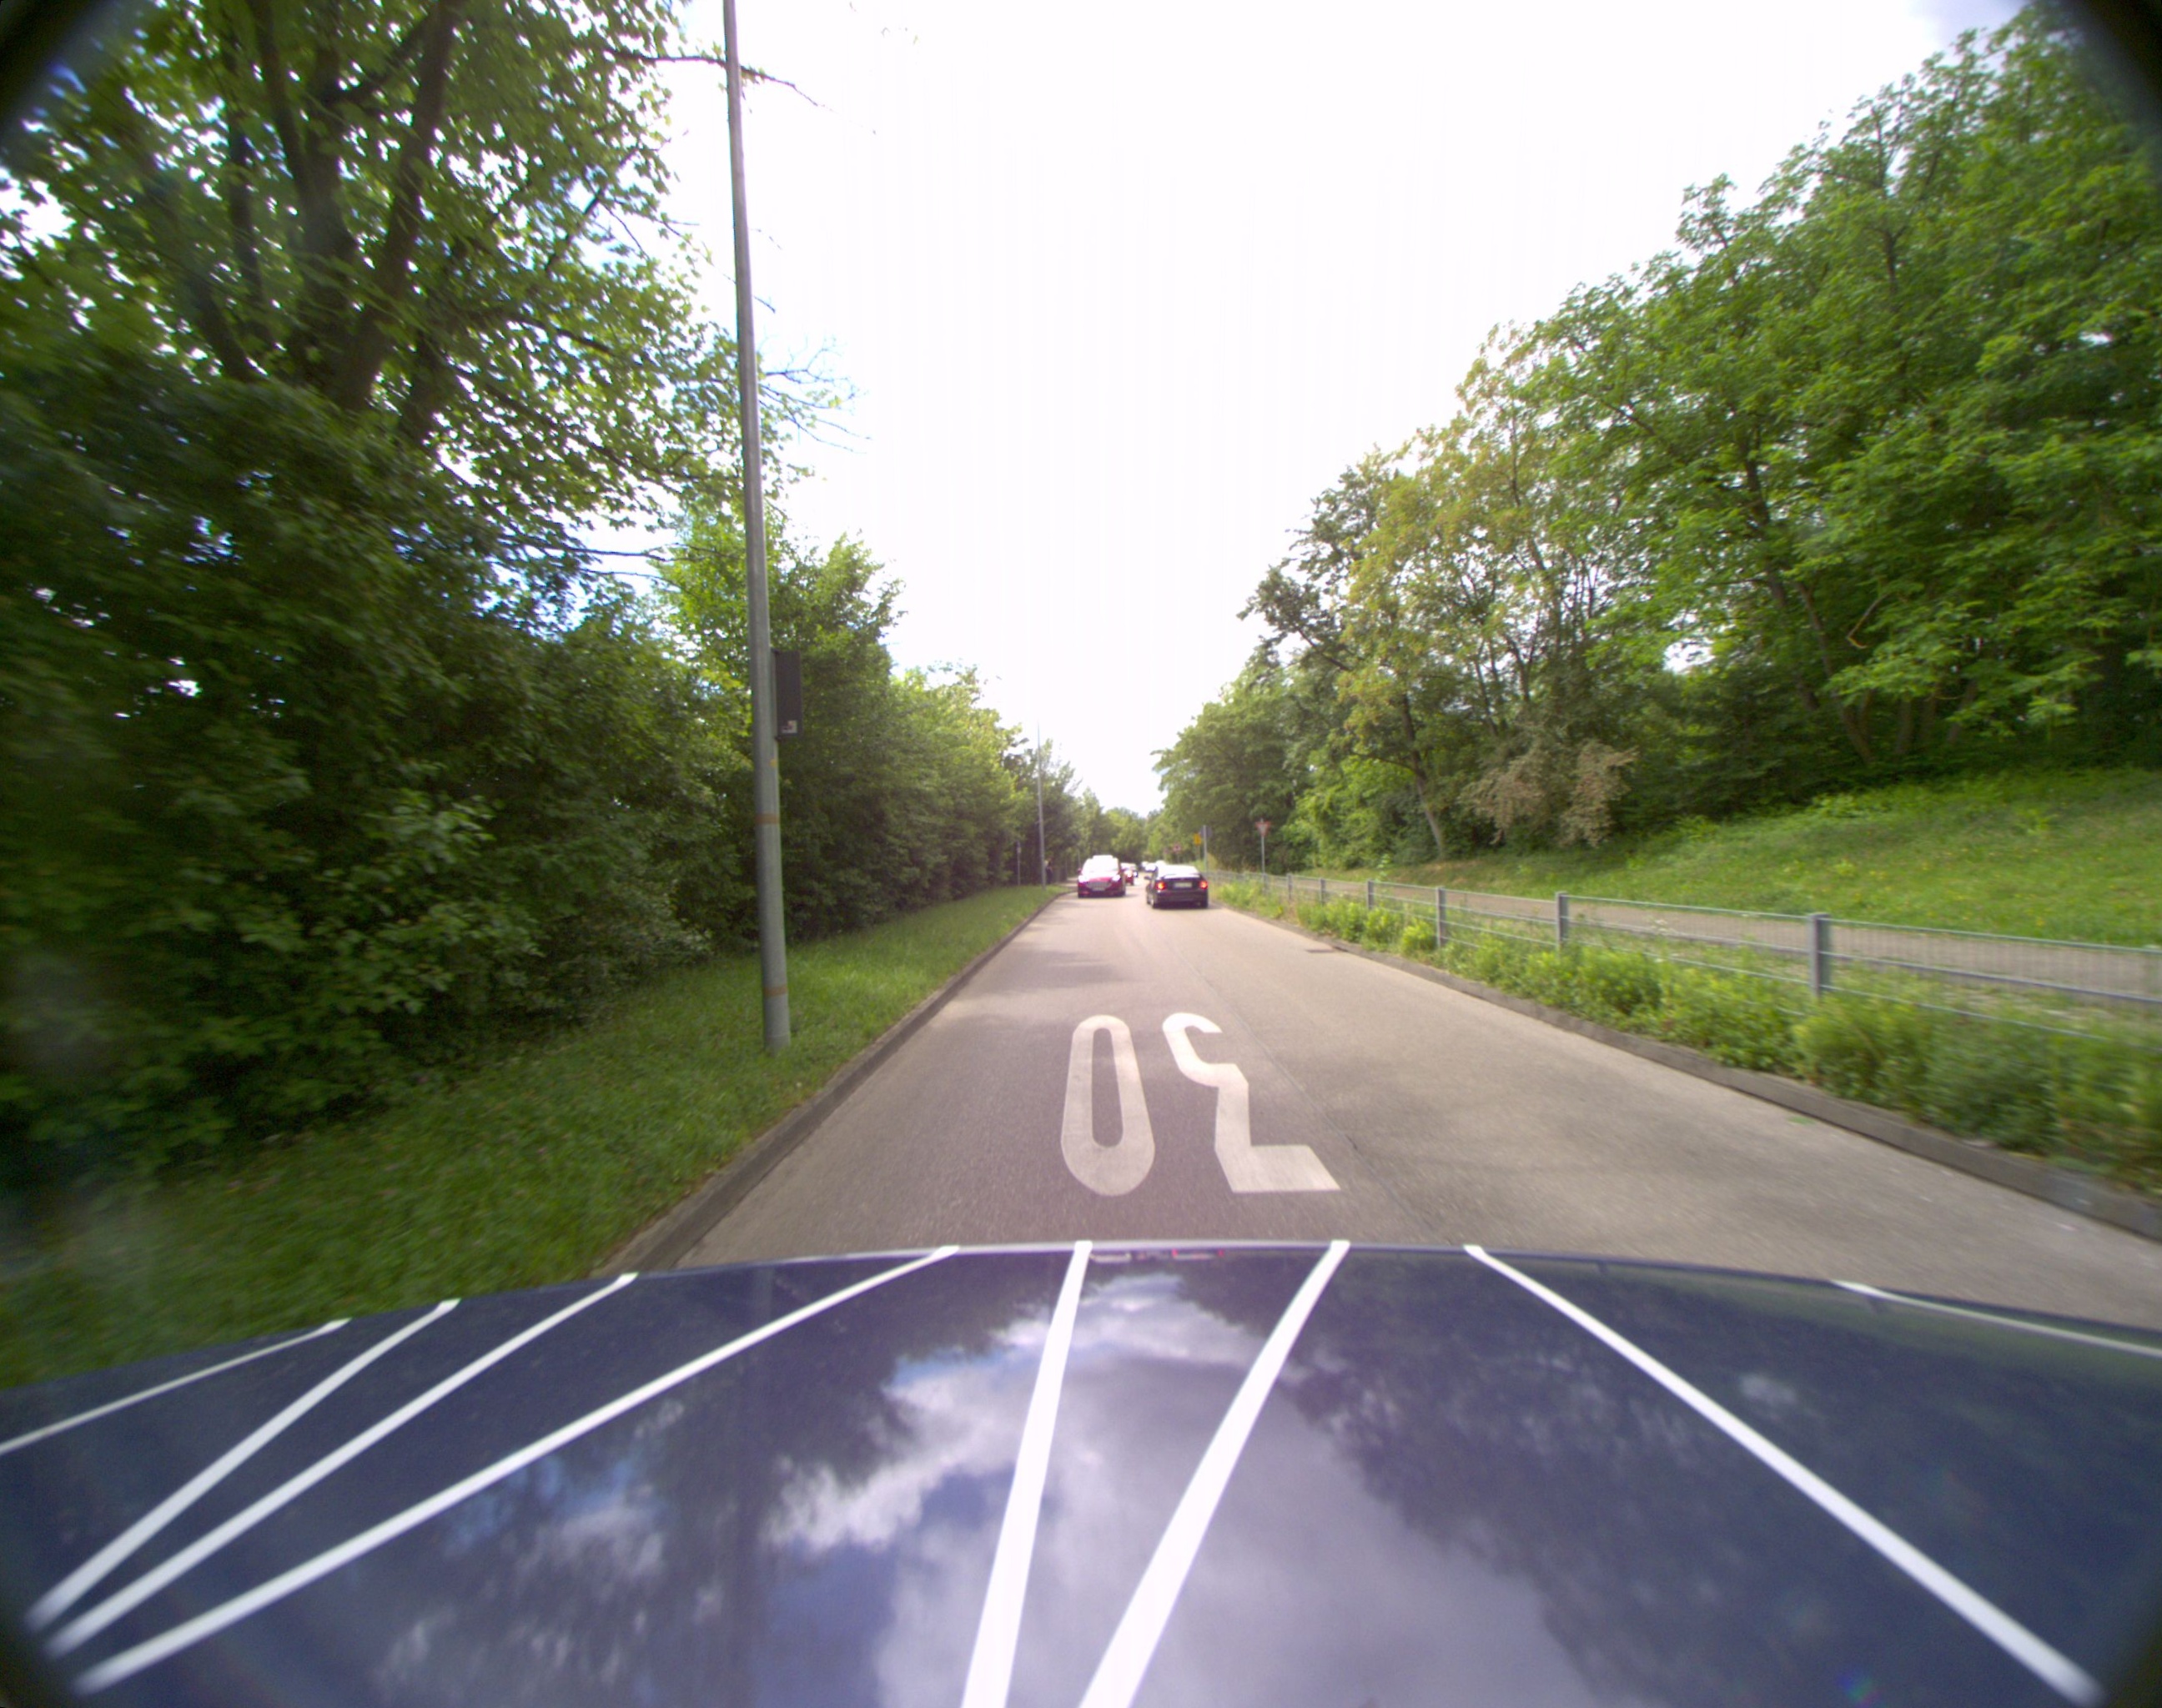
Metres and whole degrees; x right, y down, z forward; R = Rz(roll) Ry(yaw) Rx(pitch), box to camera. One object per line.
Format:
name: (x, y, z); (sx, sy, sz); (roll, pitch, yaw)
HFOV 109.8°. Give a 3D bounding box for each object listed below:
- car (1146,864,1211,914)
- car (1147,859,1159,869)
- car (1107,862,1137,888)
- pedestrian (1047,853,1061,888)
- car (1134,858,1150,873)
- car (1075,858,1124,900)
car: (3.017, 1.045, 24.149); (1.620, 1.324, 4.000); (-2, 0, 2)
car: (11.598, 1.585, 122.269); (1.717, 1.521, 3.671); (-2, 1, 8)
car: (2.701, 1.366, 50.820); (1.792, 1.483, 4.000); (-2, 1, 1)
pedestrian: (-1.472, 0.872, 40.976); (0.674, 1.826, 0.606); (-2, 1, -2)
car: (7.177, 1.366, 89.682); (1.801, 1.434, 3.999); (-2, 2, 4)
car: (0.841, 1.015, 32.105); (1.861, 1.608, 4.477); (-2, -1, 3)
